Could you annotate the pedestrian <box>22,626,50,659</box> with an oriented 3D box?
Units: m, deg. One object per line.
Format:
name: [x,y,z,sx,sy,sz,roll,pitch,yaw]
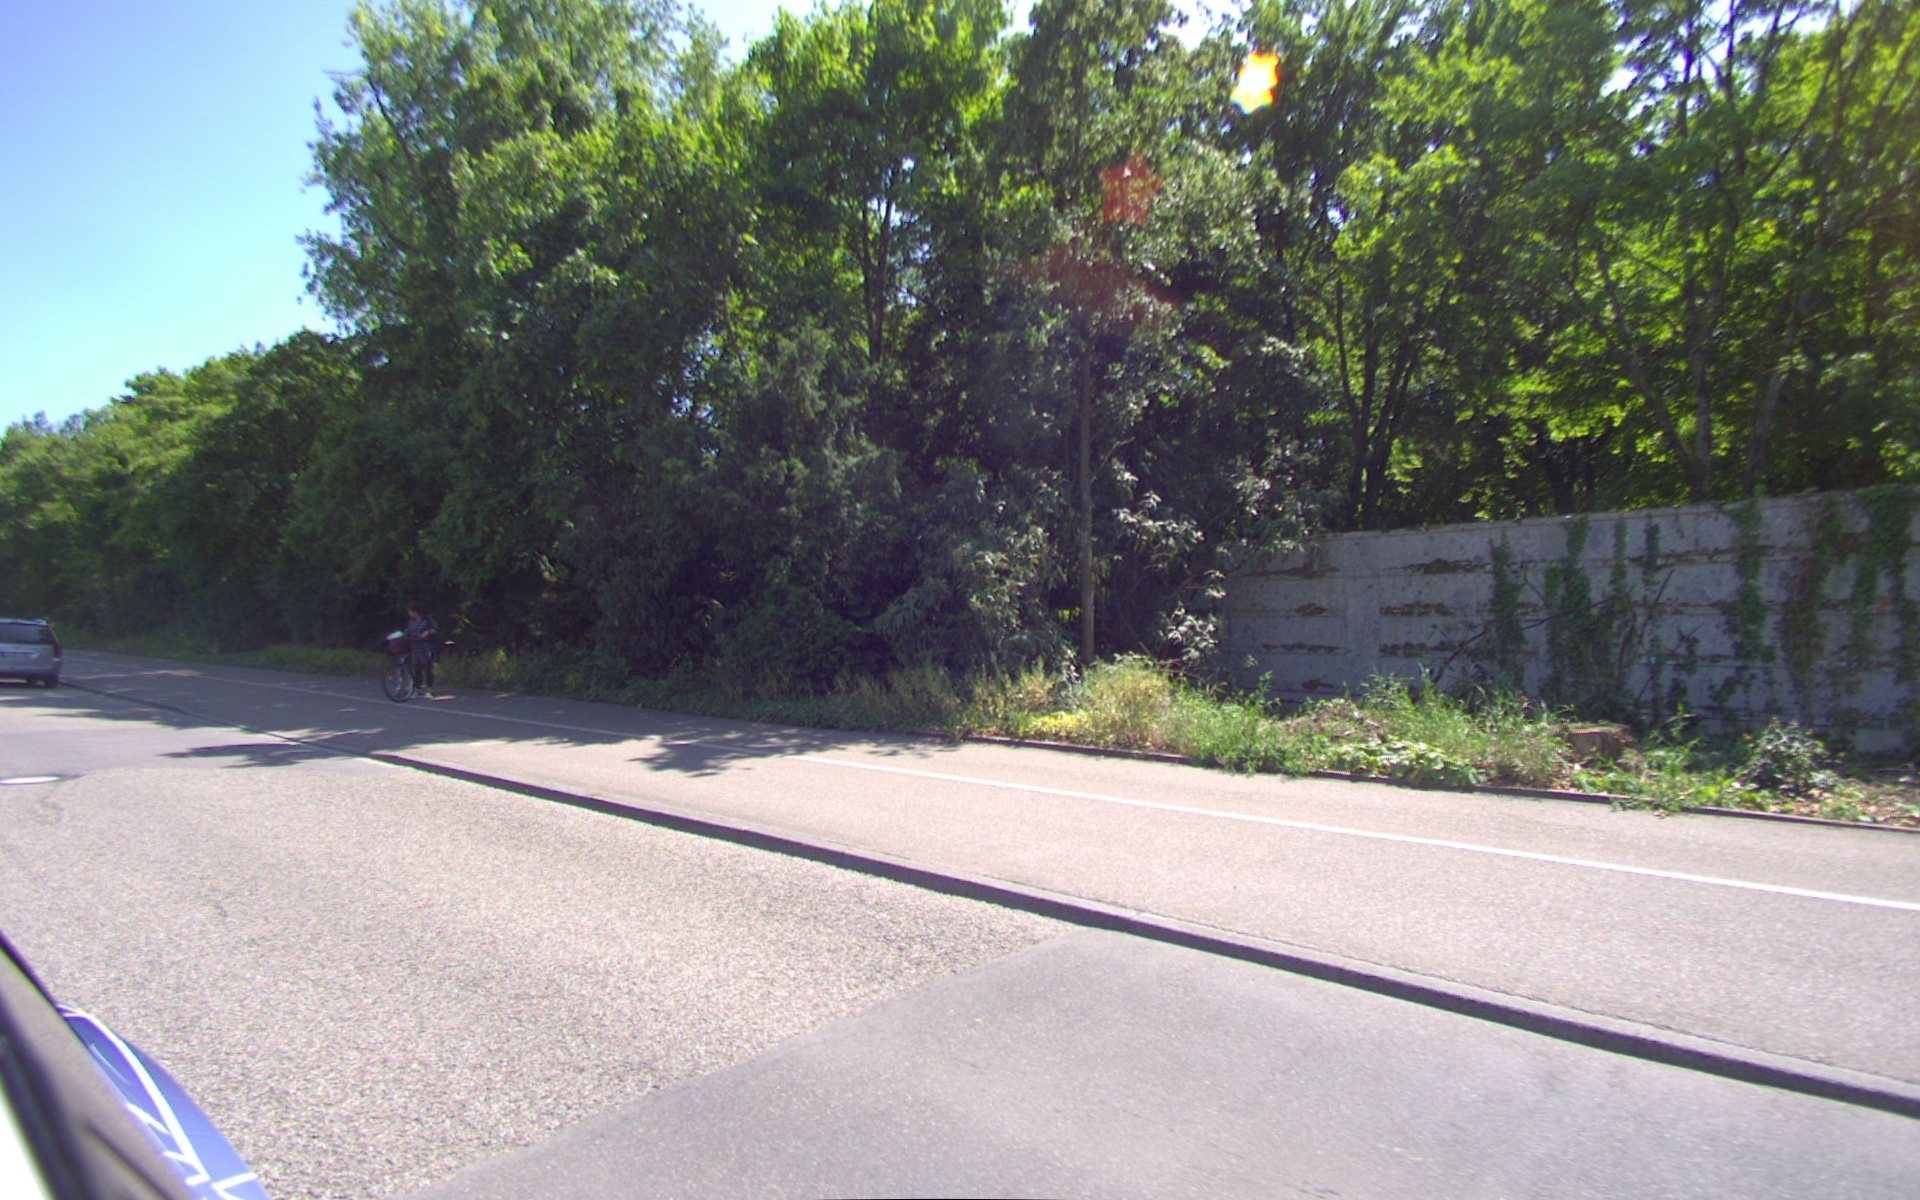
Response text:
pedestrian: [-45.542,2.085,49.873,0.885,1.625,0.923,-1,-1,39]

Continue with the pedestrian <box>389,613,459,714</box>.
pedestrian: [-9.468,1.102,17.893,0.767,1.731,0.809,-1,0,6]

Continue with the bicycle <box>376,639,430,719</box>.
bicycle: [-9.807,1.345,17.788,0.514,1.246,1.965,-2,1,-37]

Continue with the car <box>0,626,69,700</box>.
car: [-22.515,1.432,23.730,4.269,1.585,1.773,-2,-7,41]
